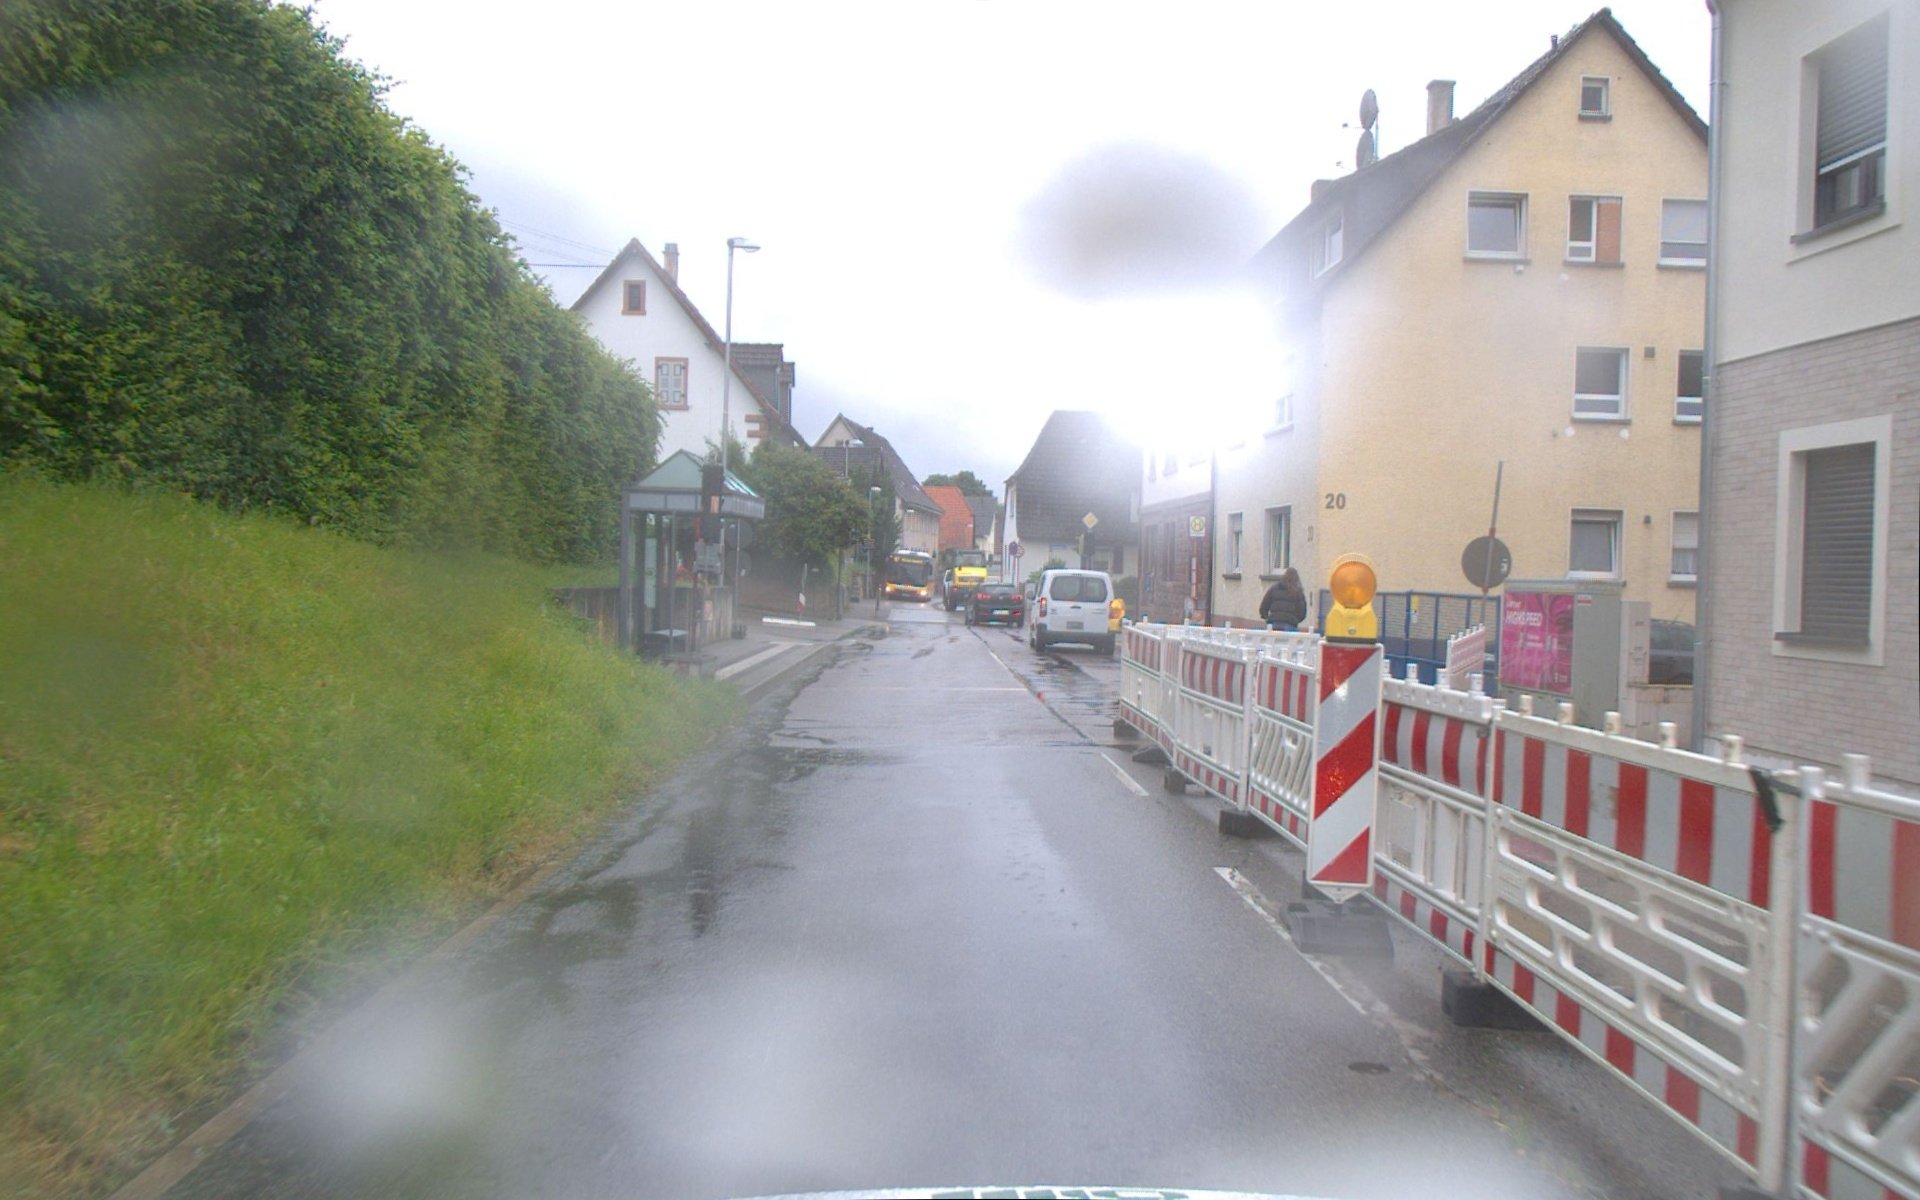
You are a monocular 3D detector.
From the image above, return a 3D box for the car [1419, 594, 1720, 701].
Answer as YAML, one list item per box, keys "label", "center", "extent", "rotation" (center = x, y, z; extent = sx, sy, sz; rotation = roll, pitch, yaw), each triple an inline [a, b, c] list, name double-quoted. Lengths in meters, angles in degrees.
- label: "car"
  center: [9.735, 0.737, 26.634]
  extent: [4.062, 1.324, 1.911]
  rotation: [5, 0, -2]

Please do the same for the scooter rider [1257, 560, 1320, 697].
- label: "scooter rider"
  center: [4.332, 0.375, 21.849]
  extent: [0.715, 1.763, 0.518]
  rotation: [2, 0, 5]

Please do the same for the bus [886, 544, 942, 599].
- label: "bus"
  center: [-2.800, -1.879, 104.018]
  extent: [2.595, 3.051, 12.198]
  rotation: [2, 2, 2]

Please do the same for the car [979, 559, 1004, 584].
- label: "car"
  center: [2.731, -2.400, 141.018]
  extent: [1.951, 2.049, 4.002]
  rotation: [0, 0, 4]

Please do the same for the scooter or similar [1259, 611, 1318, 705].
- label: "scooter or similar"
  center: [4.294, 0.741, 21.700]
  extent: [0.607, 1.147, 1.403]
  rotation: [2, 0, 6]

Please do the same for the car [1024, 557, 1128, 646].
- label: "car"
  center: [2.581, 0.004, 37.589]
  extent: [1.856, 1.825, 3.812]
  rotation: [3, 1, -2]

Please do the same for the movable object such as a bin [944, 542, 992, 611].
- label: "movable object such as a bin"
  center: [0.298, -0.979, 68.920]
  extent: [1.692, 2.699, 3.972]
  rotation: [3, 1, -3]

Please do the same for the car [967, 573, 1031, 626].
- label: "car"
  center: [1.282, -0.037, 55.996]
  extent: [1.774, 1.624, 3.753]
  rotation: [3, 1, -4]
